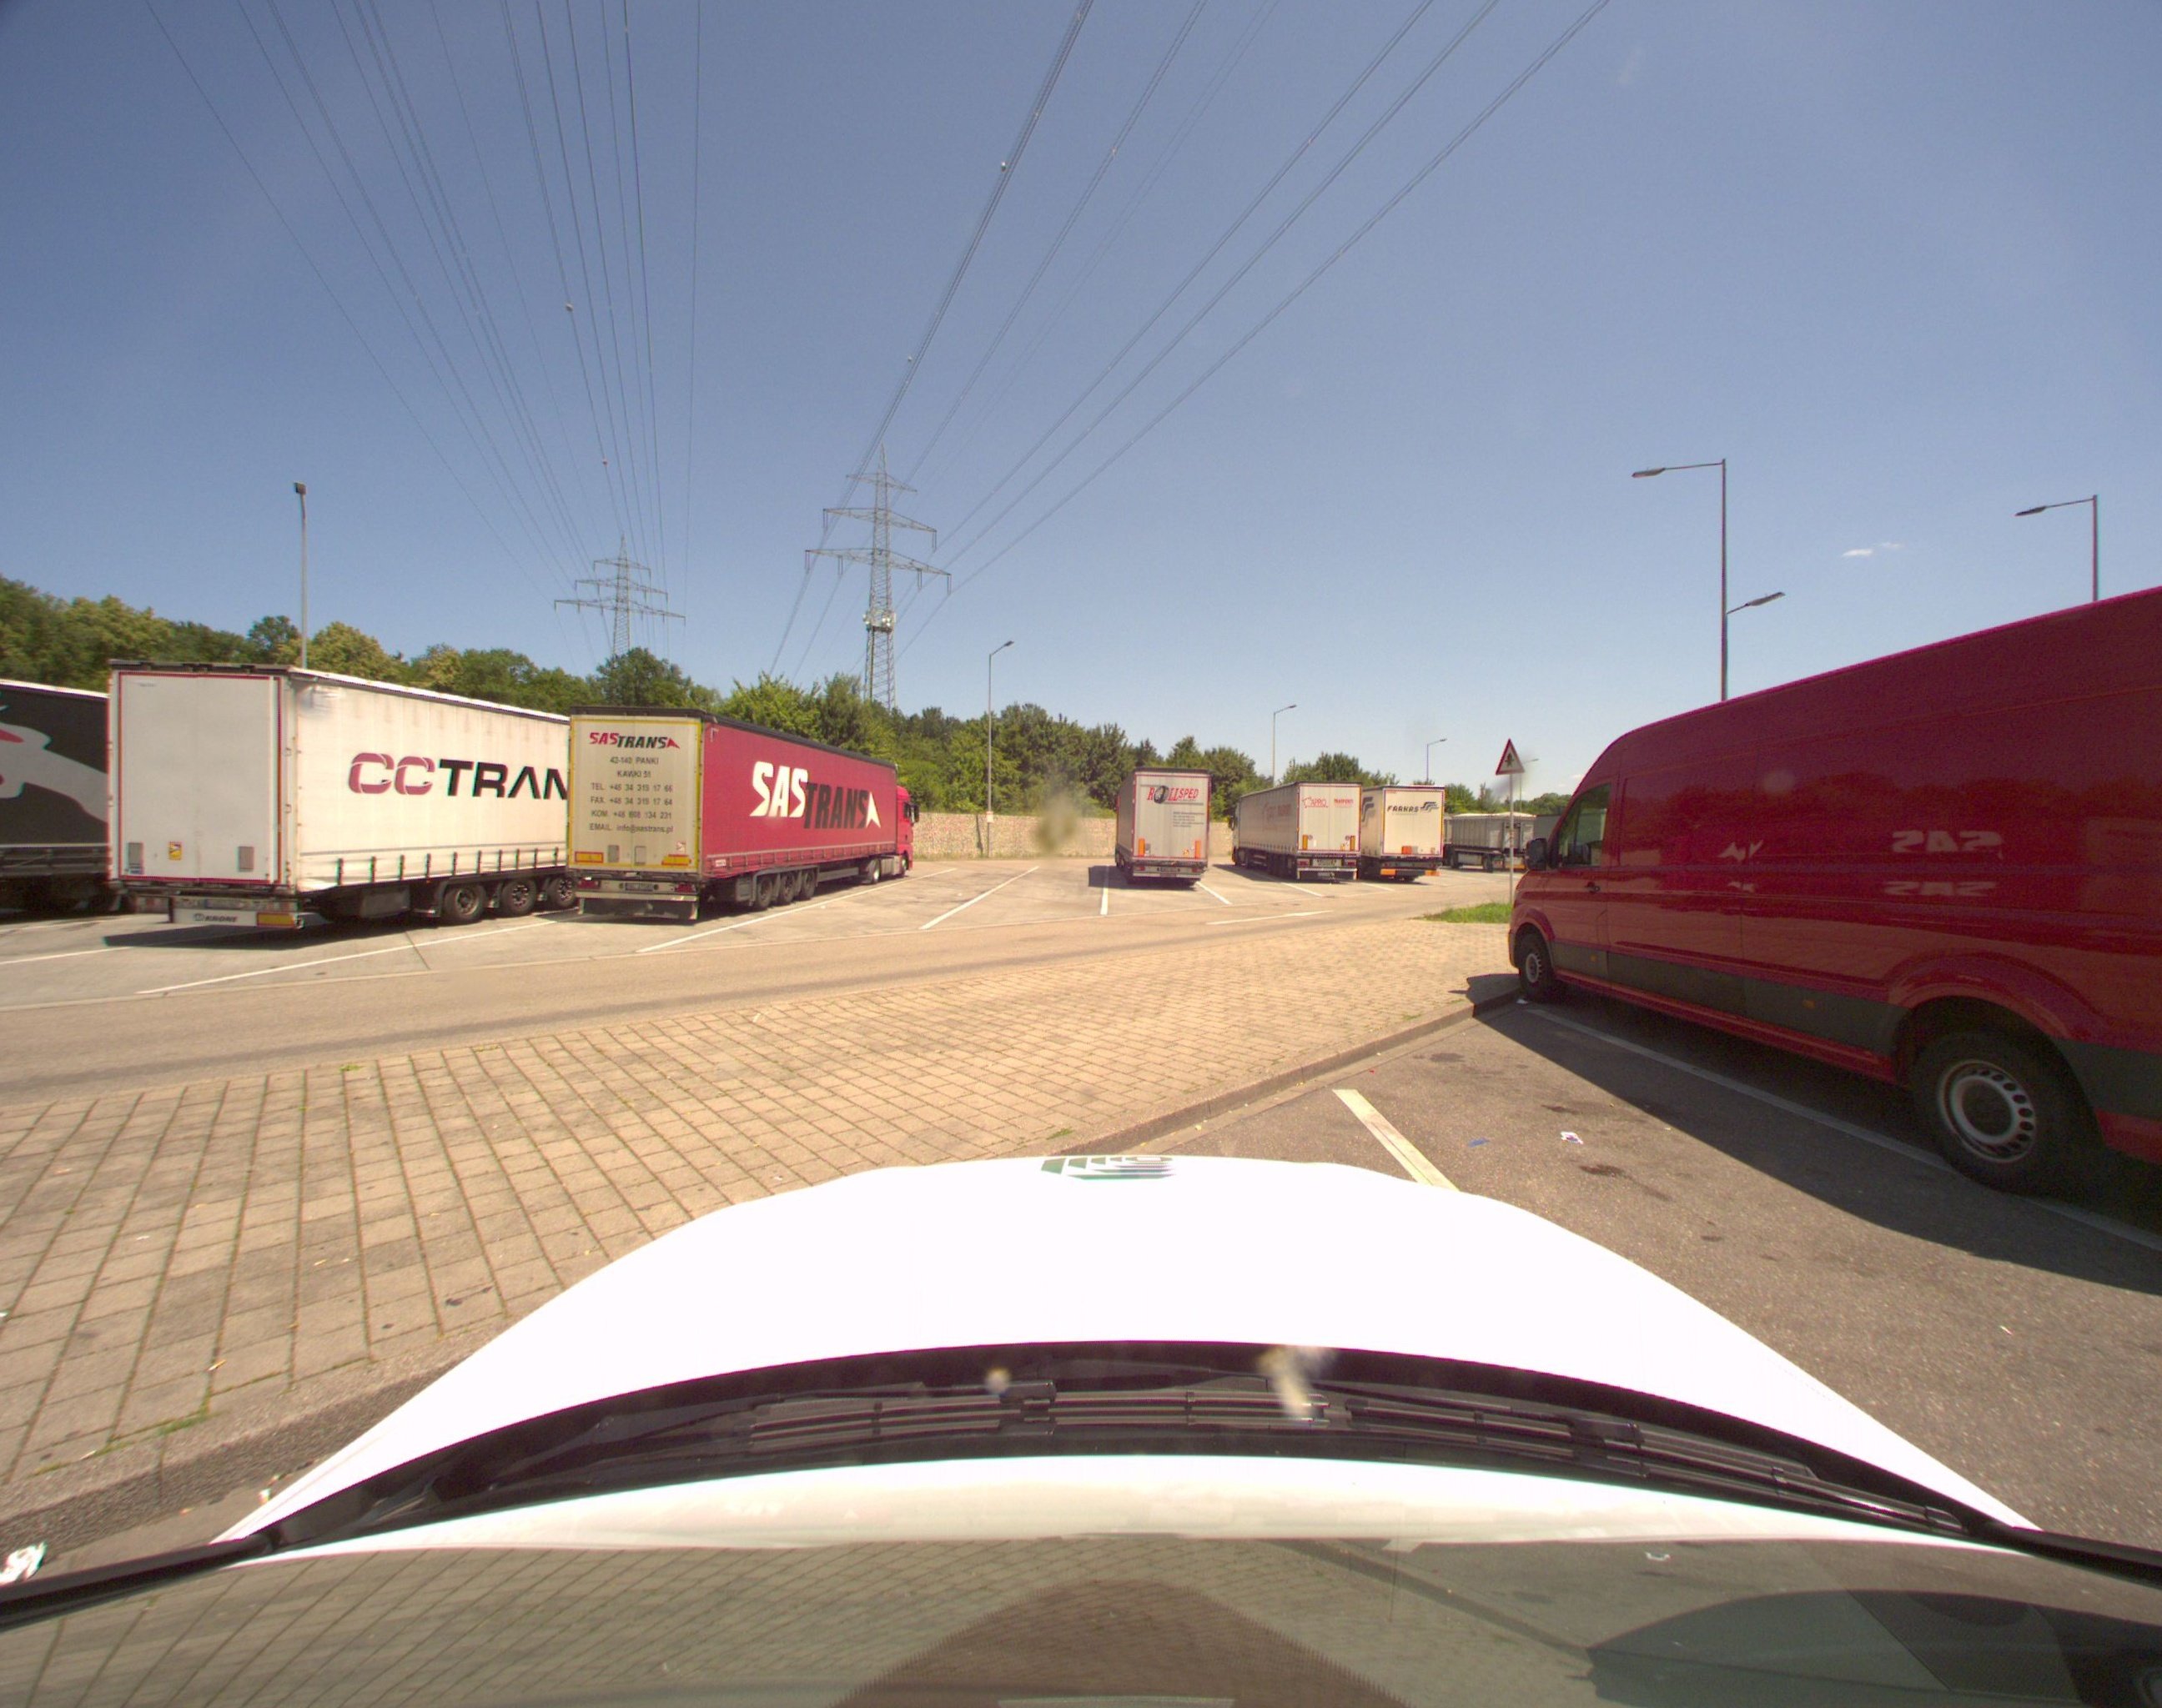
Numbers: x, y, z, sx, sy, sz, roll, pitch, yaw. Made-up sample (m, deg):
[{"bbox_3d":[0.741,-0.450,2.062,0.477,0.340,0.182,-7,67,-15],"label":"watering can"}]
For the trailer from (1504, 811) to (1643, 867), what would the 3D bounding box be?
[{"bbox_3d":[38.229,-1.290,64.171,2.847,3.904,13.770,1,2,2],"label":"trailer"}]

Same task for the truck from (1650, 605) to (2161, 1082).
[{"bbox_3d":[8.002,-0.072,6.880,2.406,2.906,6.466,-1,0,6],"label":"truck"}]

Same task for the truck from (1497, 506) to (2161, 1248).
[{"bbox_3d":[5.142,0.078,5.447,2.001,2.651,6.466,-1,0,6],"label":"truck"}]

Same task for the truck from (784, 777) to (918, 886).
[{"bbox_3d":[-7.829,-0.795,28.540,2.801,3.362,5.977,1,2,2],"label":"truck"}]

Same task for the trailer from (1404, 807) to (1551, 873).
[{"bbox_3d":[24.447,-0.990,51.491,2.847,3.599,13.770,1,2,2],"label":"trailer"}]

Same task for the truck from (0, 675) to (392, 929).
[{"bbox_3d":[-18.548,-0.941,15.828,2.696,4.070,8.694,1,2,2],"label":"truck"}]

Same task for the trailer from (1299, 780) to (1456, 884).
[{"bbox_3d":[13.613,-1.092,39.218,2.847,4.109,13.770,1,2,2],"label":"trailer"}]

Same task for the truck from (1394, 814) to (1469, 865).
[{"bbox_3d":[24.633,-1.077,57.588,2.855,3.362,5.977,1,2,2],"label":"truck"}]

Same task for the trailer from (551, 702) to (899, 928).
[{"bbox_3d":[-8.044,-0.929,21.723,2.811,4.070,13.770,1,2,2],"label":"trailer"}]

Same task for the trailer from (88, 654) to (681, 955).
[{"bbox_3d":[-12.159,-0.843,16.420,2.696,4.101,10.395,1,2,2],"label":"trailer"}]

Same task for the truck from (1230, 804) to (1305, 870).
[{"bbox_3d":[10.184,-0.975,45.058,2.855,3.362,5.977,1,2,2],"label":"truck"}]

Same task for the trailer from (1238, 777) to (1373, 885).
[{"bbox_3d":[9.985,-1.118,38.294,2.847,4.109,13.770,1,2,2],"label":"trailer"}]

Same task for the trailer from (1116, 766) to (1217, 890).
[{"bbox_3d":[3.052,-1.048,33.204,2.848,3.971,13.767,1,2,1],"label":"trailer"}]

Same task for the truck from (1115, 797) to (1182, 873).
[{"bbox_3d":[3.144,-0.938,39.407,2.855,3.362,5.977,1,2,2],"label":"truck"}]
